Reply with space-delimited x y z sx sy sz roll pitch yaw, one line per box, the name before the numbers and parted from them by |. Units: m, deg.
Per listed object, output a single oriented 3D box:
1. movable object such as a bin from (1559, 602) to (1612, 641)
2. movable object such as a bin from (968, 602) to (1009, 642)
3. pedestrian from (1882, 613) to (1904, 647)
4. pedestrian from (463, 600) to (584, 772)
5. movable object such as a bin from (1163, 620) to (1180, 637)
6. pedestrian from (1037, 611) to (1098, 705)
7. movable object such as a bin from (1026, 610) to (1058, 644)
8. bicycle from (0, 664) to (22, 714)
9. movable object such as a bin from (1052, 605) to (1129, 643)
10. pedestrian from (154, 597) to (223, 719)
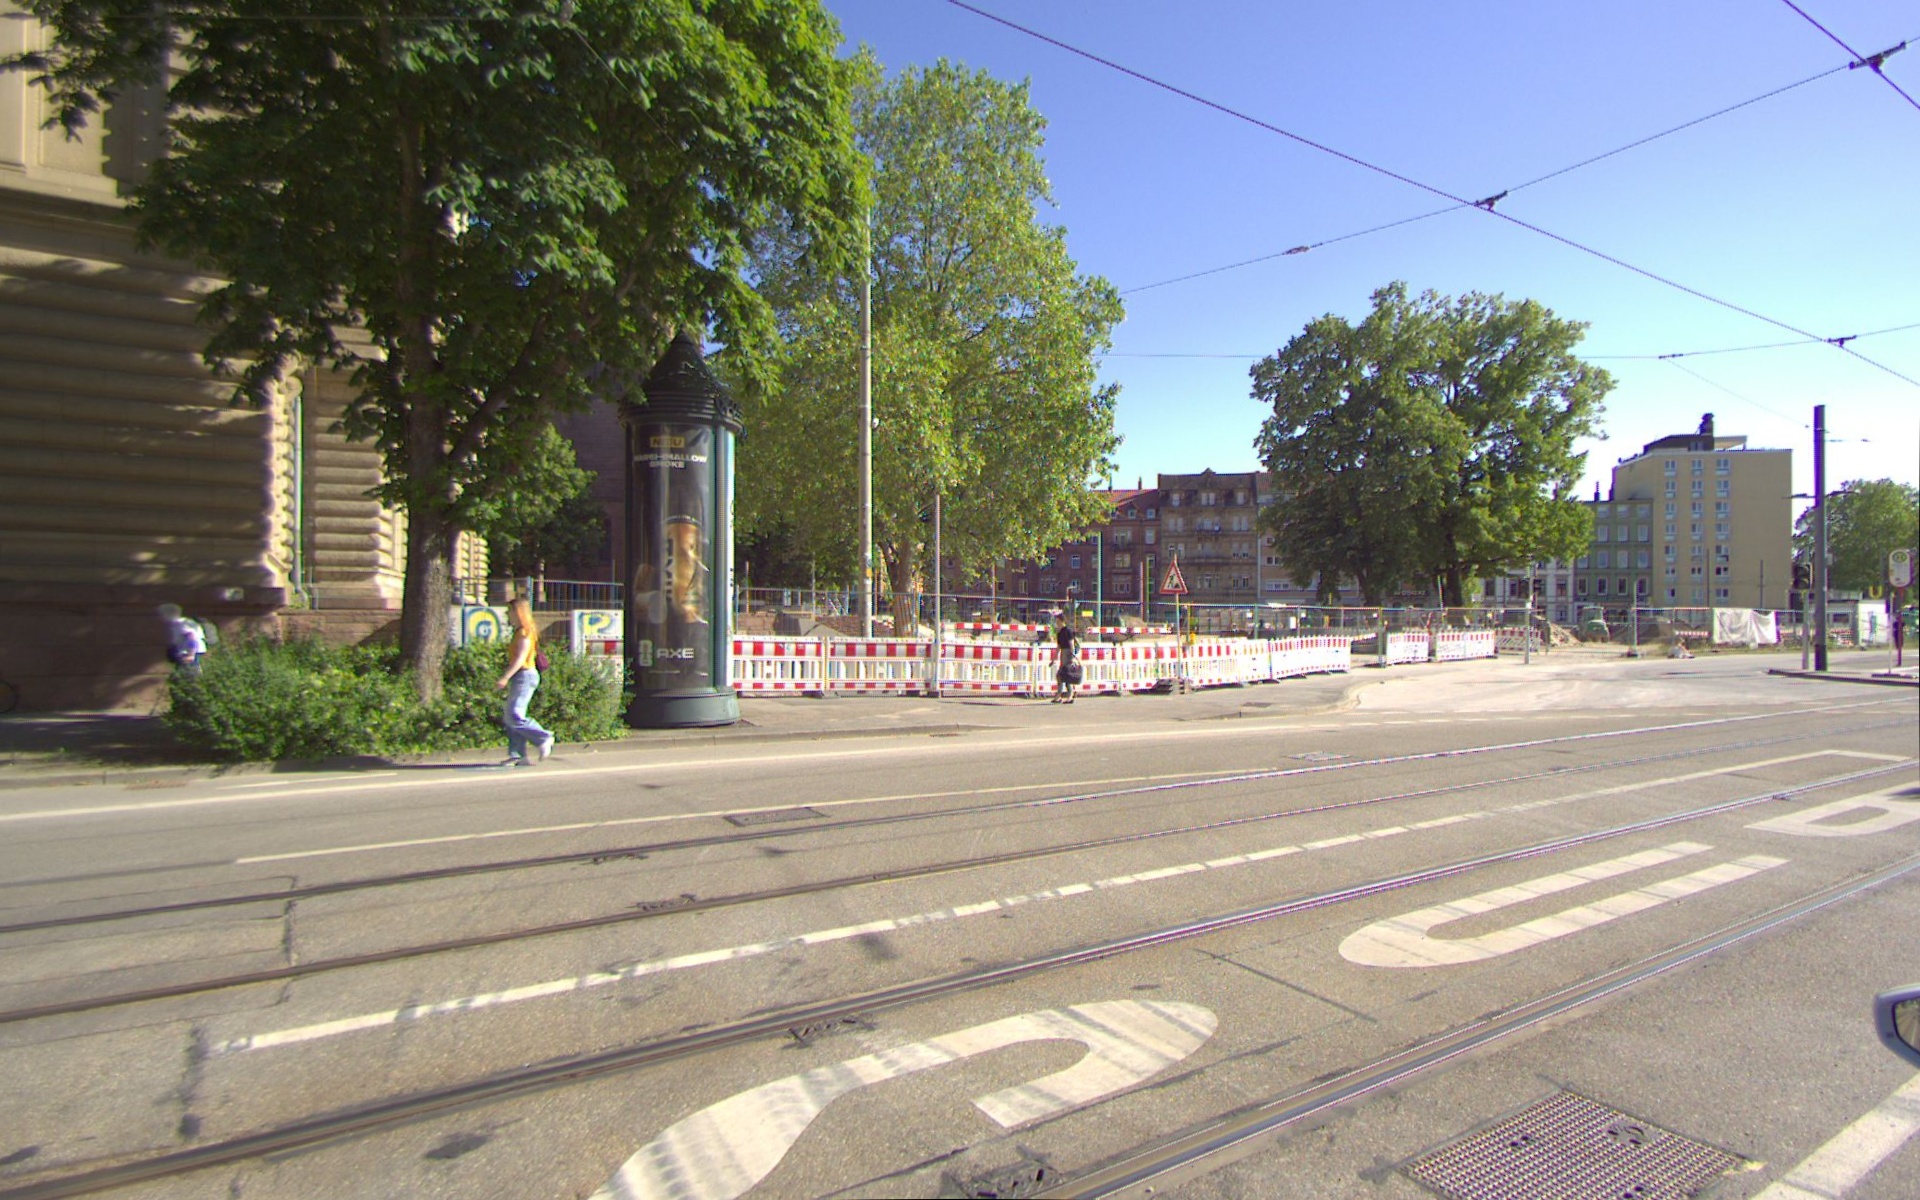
movable object such as a bin | 48.080 1.636 77.288 1.796 2.833 4.002 2 0 6
movable object such as a bin | 2.478 1.863 86.638 3.056 3.215 5.250 2 0 6
pedestrian | 50.148 1.621 53.991 0.792 1.791 0.663 1 -1 -34
pedestrian | -4.551 0.865 10.478 1.023 1.691 0.765 1 -2 -34
movable object such as a bin | 21.893 2.957 103.989 1.715 1.702 3.803 -1 -1 13
pedestrian | 1.996 1.079 18.712 0.834 1.691 0.726 3 -2 -21
movable object such as a bin | 6.082 1.951 74.141 1.856 2.377 4.232 2 0 11
bicycle | -13.047 1.170 13.134 1.090 0.644 0.291 2 0 -34
movable object such as a bin | 10.535 1.911 81.070 5.962 2.796 1.895 2 0 8
pedestrian | -10.260 0.758 13.377 0.647 1.583 0.574 1 -1 -32
